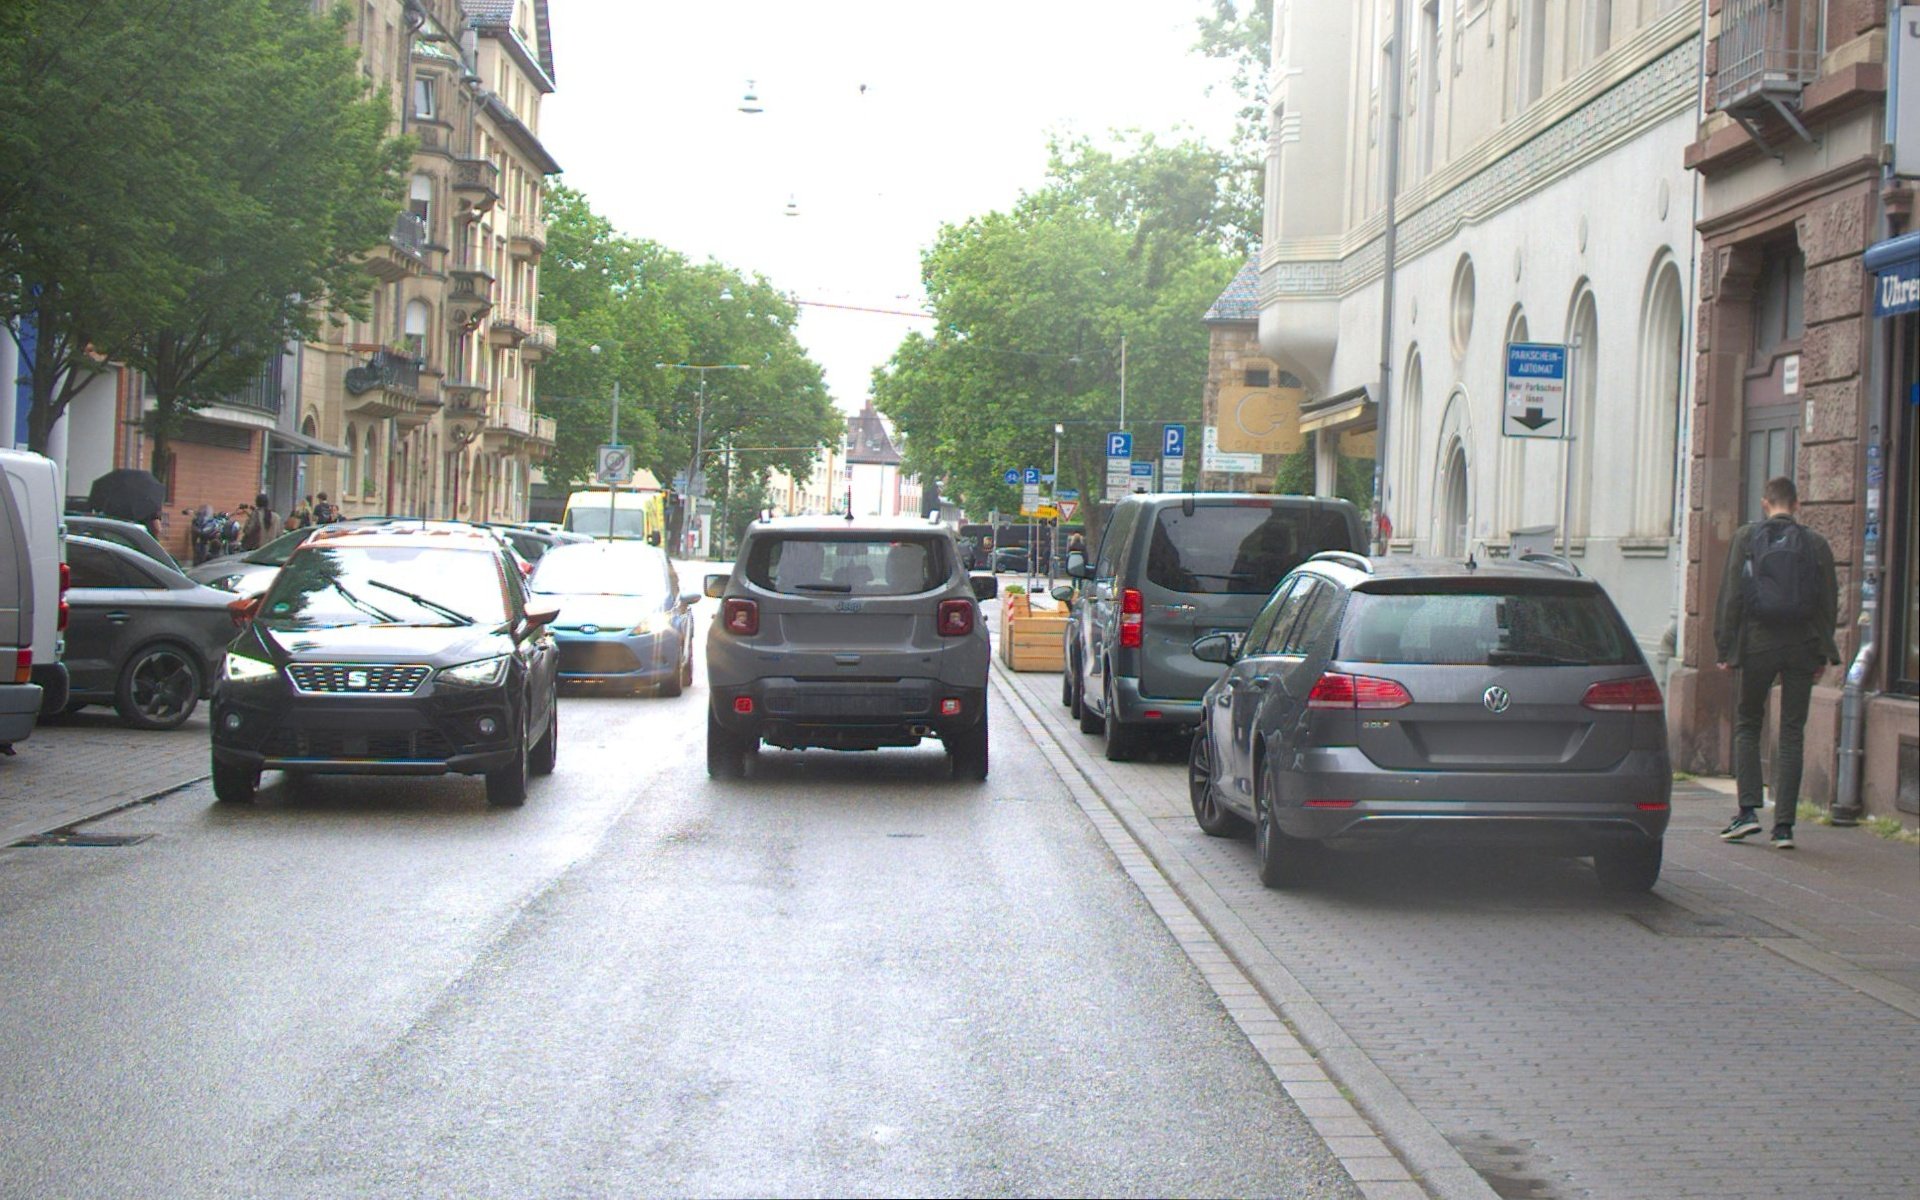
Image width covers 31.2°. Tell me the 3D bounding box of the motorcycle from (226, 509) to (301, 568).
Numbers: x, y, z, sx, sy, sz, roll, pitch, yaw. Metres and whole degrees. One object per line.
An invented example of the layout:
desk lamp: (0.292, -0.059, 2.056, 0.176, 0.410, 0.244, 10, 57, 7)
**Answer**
motorcycle: (-14.945, -1.317, 73.828, 0.754, 1.170, 2.115, 5, 1, 11)

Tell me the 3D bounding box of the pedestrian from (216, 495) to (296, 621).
pedestrian: (-10.123, -0.610, 49.433, 0.825, 1.746, 0.757, 4, 1, 6)

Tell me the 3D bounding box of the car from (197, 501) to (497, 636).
car: (-7.801, -0.399, 43.808, 3.375, 1.648, 1.634, 0, 1, -34)

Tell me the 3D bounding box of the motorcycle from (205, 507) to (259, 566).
motorcycle: (-15.175, -1.329, 71.700, 0.753, 1.170, 2.116, 4, 1, -5)

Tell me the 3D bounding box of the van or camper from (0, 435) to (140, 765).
van or camper: (-7.558, -0.131, 20.179, 4.684, 1.946, 2.336, 3, 2, -42)

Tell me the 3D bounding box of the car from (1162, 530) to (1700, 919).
car: (2.035, 0.476, 15.986, 1.841, 1.540, 4.004, 1, 1, -1)

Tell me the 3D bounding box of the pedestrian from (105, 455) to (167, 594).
pedestrian: (-10.280, -0.944, 42.914, 0.611, 1.701, 0.433, 2, -1, 0)

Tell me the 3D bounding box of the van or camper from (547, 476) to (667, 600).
van or camper: (-7.940, -1.347, 77.994, 2.121, 2.522, 6.875, -2, -1, -1)

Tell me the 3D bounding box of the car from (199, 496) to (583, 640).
car: (-7.767, -0.434, 47.014, 4.510, 1.534, 2.338, 6, -2, -34)

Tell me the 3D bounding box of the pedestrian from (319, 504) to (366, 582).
pedestrian: (-12.673, -1.178, 70.549, 0.709, 1.546, 0.607, 4, 1, 6)

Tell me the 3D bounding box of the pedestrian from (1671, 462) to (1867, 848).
pedestrian: (4.167, 0.280, 17.690, 0.680, 1.928, 0.808, 1, -1, 34)

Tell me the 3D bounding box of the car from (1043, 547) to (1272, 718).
car: (1.702, 0.241, 30.760, 1.710, 1.396, 3.705, 1, 1, -2)

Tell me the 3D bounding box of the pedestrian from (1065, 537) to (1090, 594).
pedestrian: (3.535, -1.033, 103.641, 0.690, 1.705, 0.684, 1, 1, -1)

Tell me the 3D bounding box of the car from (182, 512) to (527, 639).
car: (-7.264, -0.291, 41.342, 3.702, 1.447, 1.685, 0, 1, -36)

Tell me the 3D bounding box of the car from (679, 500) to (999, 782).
car: (-0.820, 0.211, 23.105, 1.898, 1.665, 4.506, 1, 1, -2)

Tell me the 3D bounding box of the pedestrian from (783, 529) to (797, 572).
pedestrian: (-6.231, -1.819, 126.079, 0.467, 1.580, 0.752, 2, 1, -2)

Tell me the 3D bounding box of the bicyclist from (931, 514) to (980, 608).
bicyclist: (-0.076, -0.599, 52.156, 0.705, 1.399, 1.171, 1, 1, -1)

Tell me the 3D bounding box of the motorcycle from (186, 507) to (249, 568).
motorcycle: (-15.014, -1.260, 69.551, 0.753, 1.170, 2.116, 4, 1, -1)

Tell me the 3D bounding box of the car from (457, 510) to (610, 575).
car: (-11.620, -1.561, 93.701, 3.653, 1.553, 1.799, 3, 0, -37)

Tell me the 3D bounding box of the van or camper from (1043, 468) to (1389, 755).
van or camper: (1.769, 0.029, 25.418, 2.021, 1.884, 5.055, 1, 1, -2)

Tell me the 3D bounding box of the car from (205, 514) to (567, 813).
car: (-3.305, 0.309, 20.437, 1.669, 1.554, 4.004, 2, 1, -4)

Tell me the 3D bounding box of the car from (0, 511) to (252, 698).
car: (-7.568, 0.010, 27.228, 3.471, 1.430, 1.650, 0, 1, -43)

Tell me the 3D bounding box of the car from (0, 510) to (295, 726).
car: (-6.988, 0.079, 24.544, 3.967, 1.442, 1.767, 3, 1, -41)

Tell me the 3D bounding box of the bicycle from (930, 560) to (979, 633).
bicycle: (-0.091, -0.065, 52.164, 0.705, 1.050, 1.813, 1, 1, -1)

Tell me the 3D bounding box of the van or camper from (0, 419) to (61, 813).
van or camper: (-6.905, -0.018, 16.811, 4.434, 1.968, 1.781, 2, 1, -34)

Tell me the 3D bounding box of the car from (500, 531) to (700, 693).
car: (-3.495, 0.079, 33.914, 1.669, 1.460, 4.004, 1, 1, -2)

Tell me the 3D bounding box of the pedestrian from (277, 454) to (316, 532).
pedestrian: (-15.133, -2.430, 78.406, 0.660, 1.751, 0.797, 1, 1, -25)
